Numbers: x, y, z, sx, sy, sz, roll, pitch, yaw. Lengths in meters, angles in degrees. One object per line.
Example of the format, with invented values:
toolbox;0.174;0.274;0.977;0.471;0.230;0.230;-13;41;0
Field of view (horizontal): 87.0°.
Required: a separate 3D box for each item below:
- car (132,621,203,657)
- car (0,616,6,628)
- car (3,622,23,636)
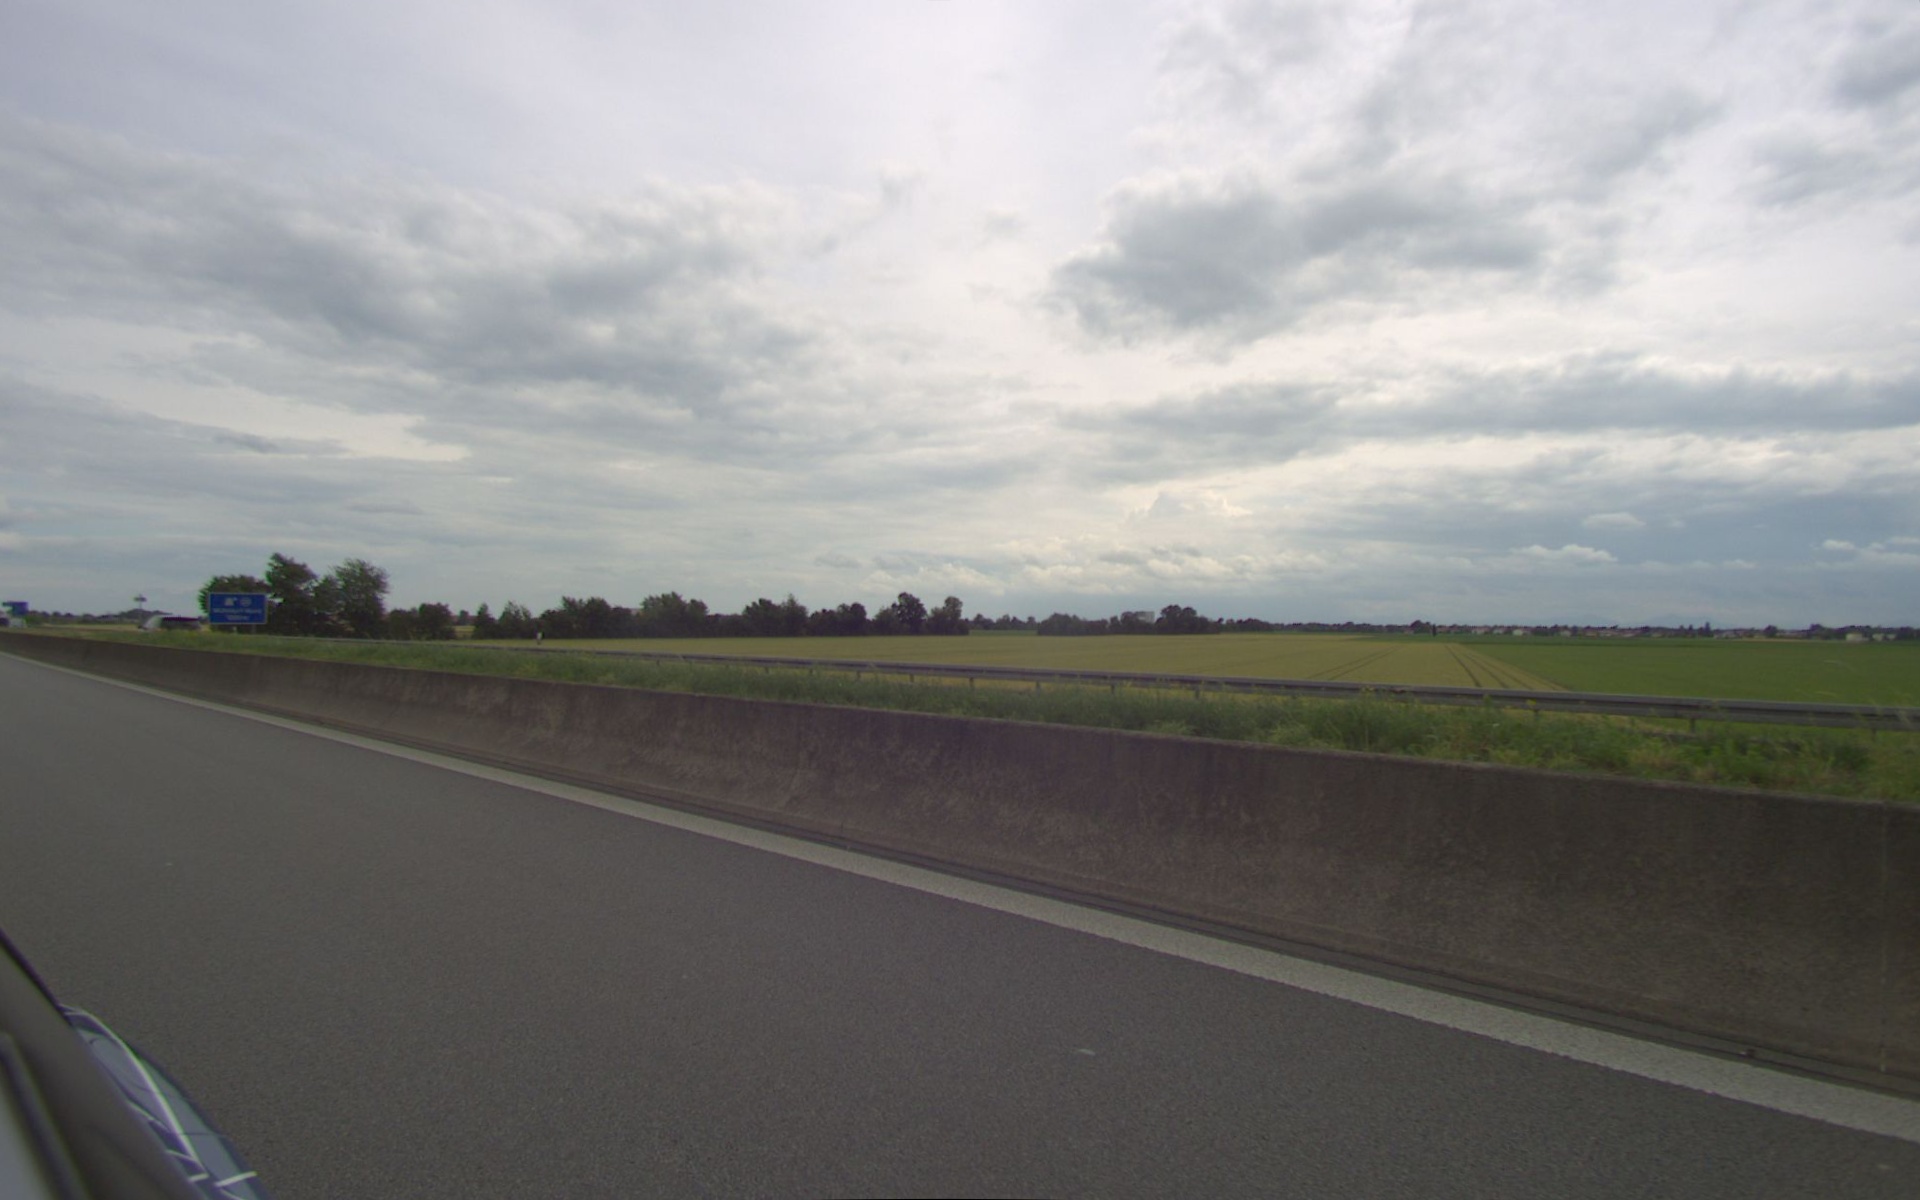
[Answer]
car;-34.250;1.653;43.702;4.181;1.503;1.671;-1;-2;41
car;-130.415;2.999;136.778;4.181;1.639;1.671;-1;-2;41
car;-139.695;4.260;149.280;4.907;2.125;2.008;-1;-2;45
